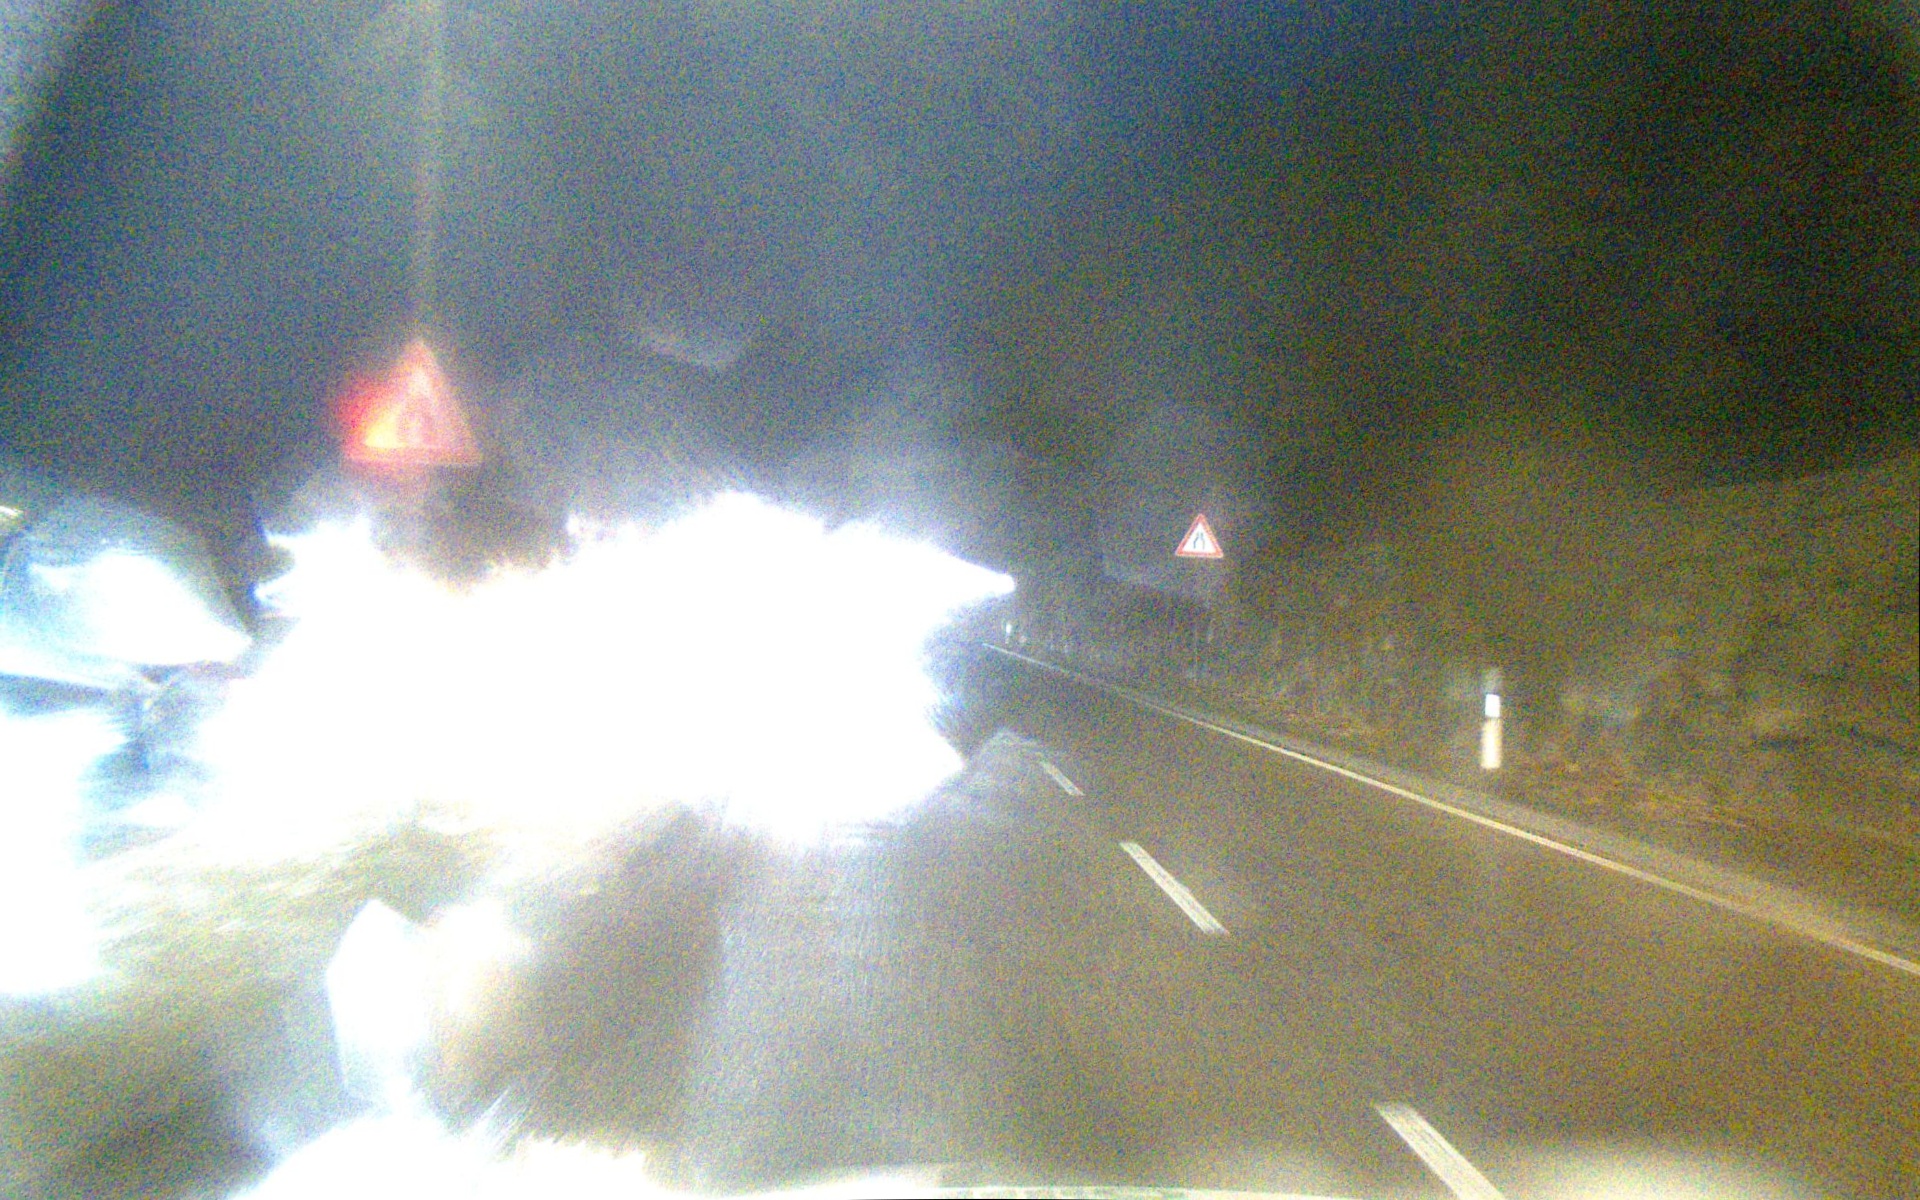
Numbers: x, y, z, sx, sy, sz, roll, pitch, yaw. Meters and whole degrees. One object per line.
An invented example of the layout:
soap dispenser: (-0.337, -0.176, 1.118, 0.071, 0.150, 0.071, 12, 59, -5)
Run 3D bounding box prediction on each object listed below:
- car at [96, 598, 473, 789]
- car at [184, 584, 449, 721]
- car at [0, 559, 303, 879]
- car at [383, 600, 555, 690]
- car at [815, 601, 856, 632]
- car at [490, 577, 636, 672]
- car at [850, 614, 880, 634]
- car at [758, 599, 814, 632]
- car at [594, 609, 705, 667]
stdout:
car: (-6.441, 0.838, 16.404, 1.917, 1.598, 4.465, 1, -1, -1)
car: (-9.221, 0.699, 24.161, 1.952, 1.777, 4.499, 1, 0, 2)
car: (-6.170, 0.652, 10.580, 1.953, 1.728, 5.011, 1, -1, -1)
car: (-9.163, 0.810, 31.182, 1.924, 1.556, 3.689, 1, 0, 3)
car: (-7.862, 0.995, 105.011, 1.952, 1.897, 5.321, 0, 0, 2)
car: (-9.202, 0.547, 38.806, 2.109, 2.049, 4.996, 1, 0, 1)
car: (-7.688, 1.929, 134.232, 2.067, 1.603, 4.680, 1, 0, 1)
car: (-8.586, 0.750, 81.910, 2.040, 1.569, 4.899, 0, 0, 2)
car: (-9.184, 1.088, 49.409, 2.136, 1.586, 5.205, 0, 0, 2)
